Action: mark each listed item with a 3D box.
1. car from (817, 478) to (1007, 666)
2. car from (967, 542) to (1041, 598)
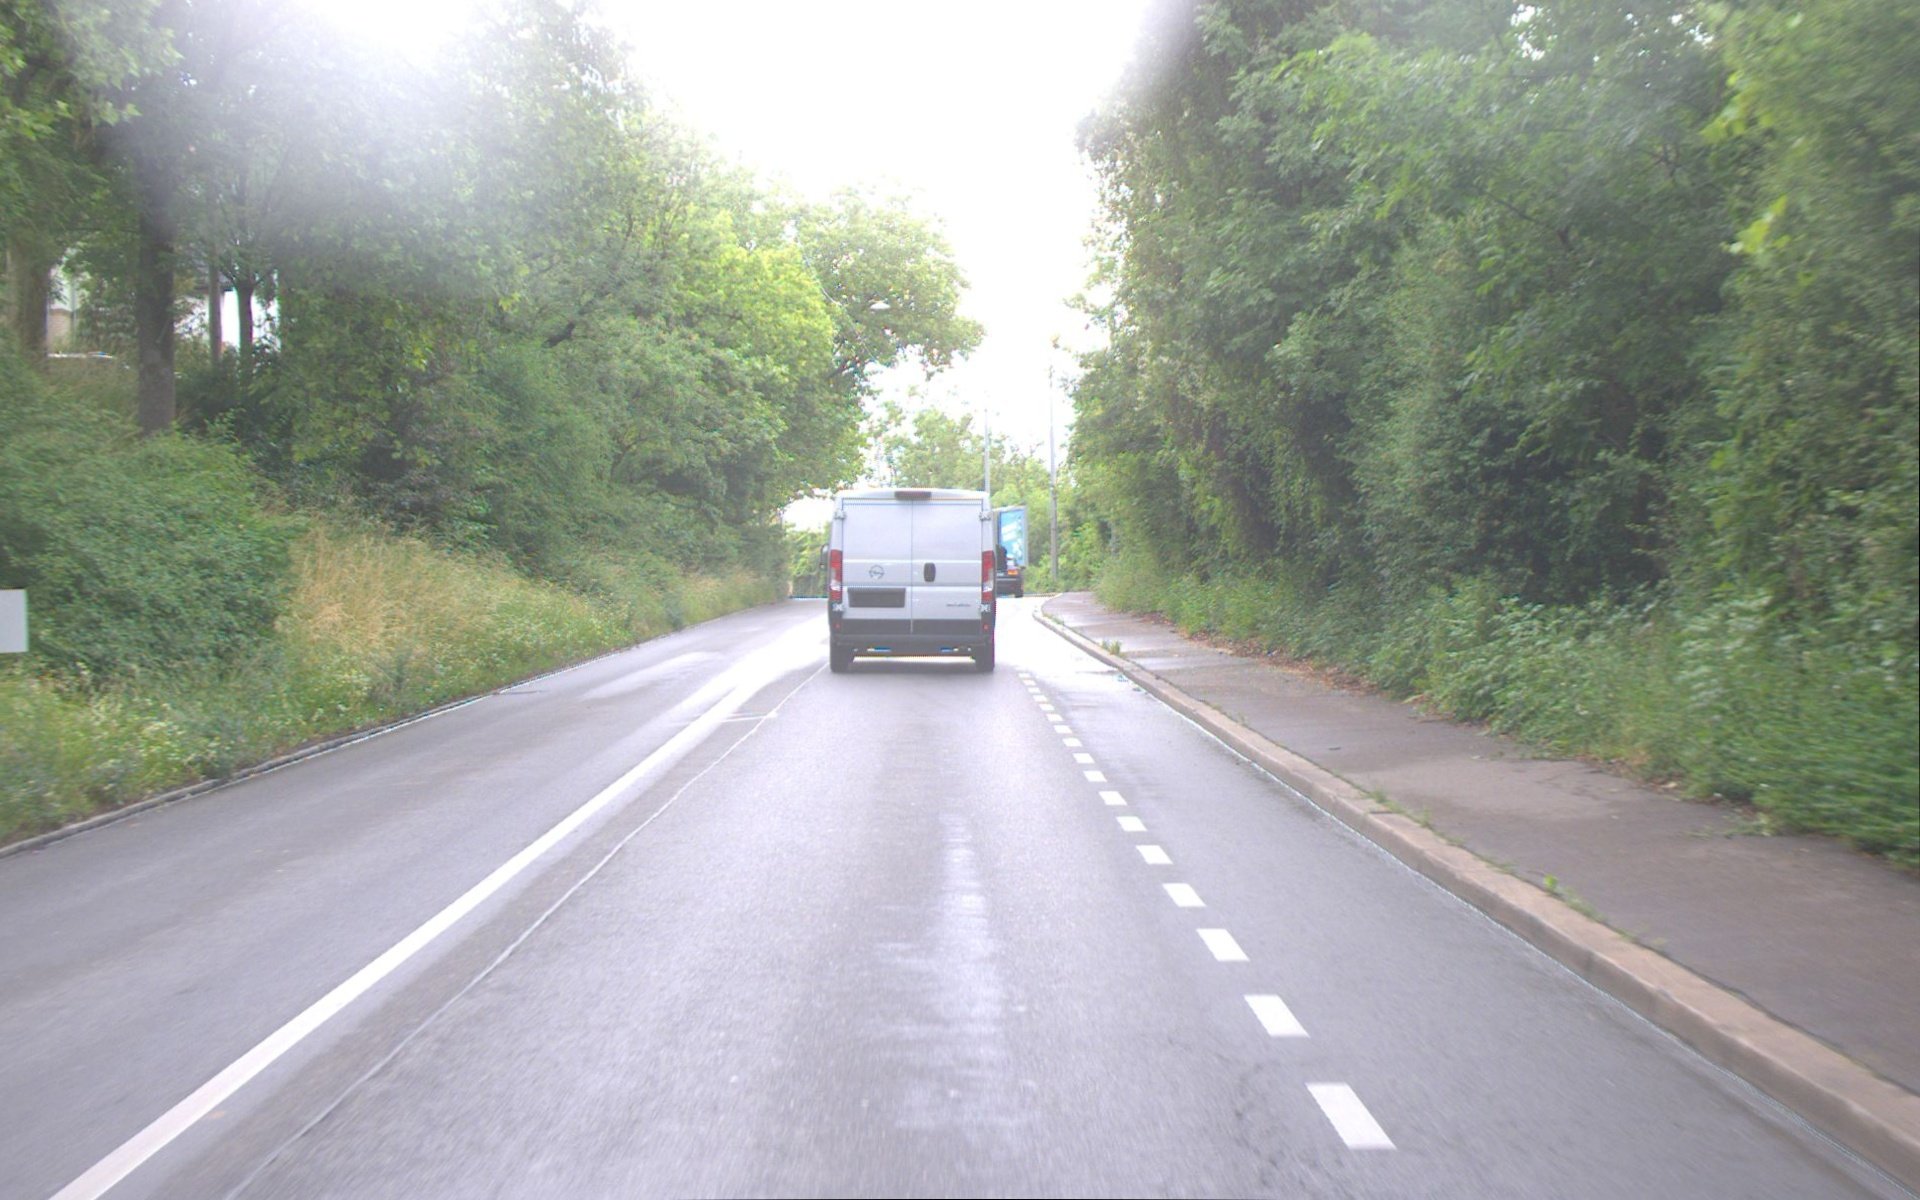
[{"bbox_3d":[-0.594,-0.360,43.313,2.237,2.205,4.713,1,1,-1],"label":"car"},{"bbox_3d":[1.434,-0.994,113.480,2.237,1.798,4.714,1,1,-1],"label":"car"}]
